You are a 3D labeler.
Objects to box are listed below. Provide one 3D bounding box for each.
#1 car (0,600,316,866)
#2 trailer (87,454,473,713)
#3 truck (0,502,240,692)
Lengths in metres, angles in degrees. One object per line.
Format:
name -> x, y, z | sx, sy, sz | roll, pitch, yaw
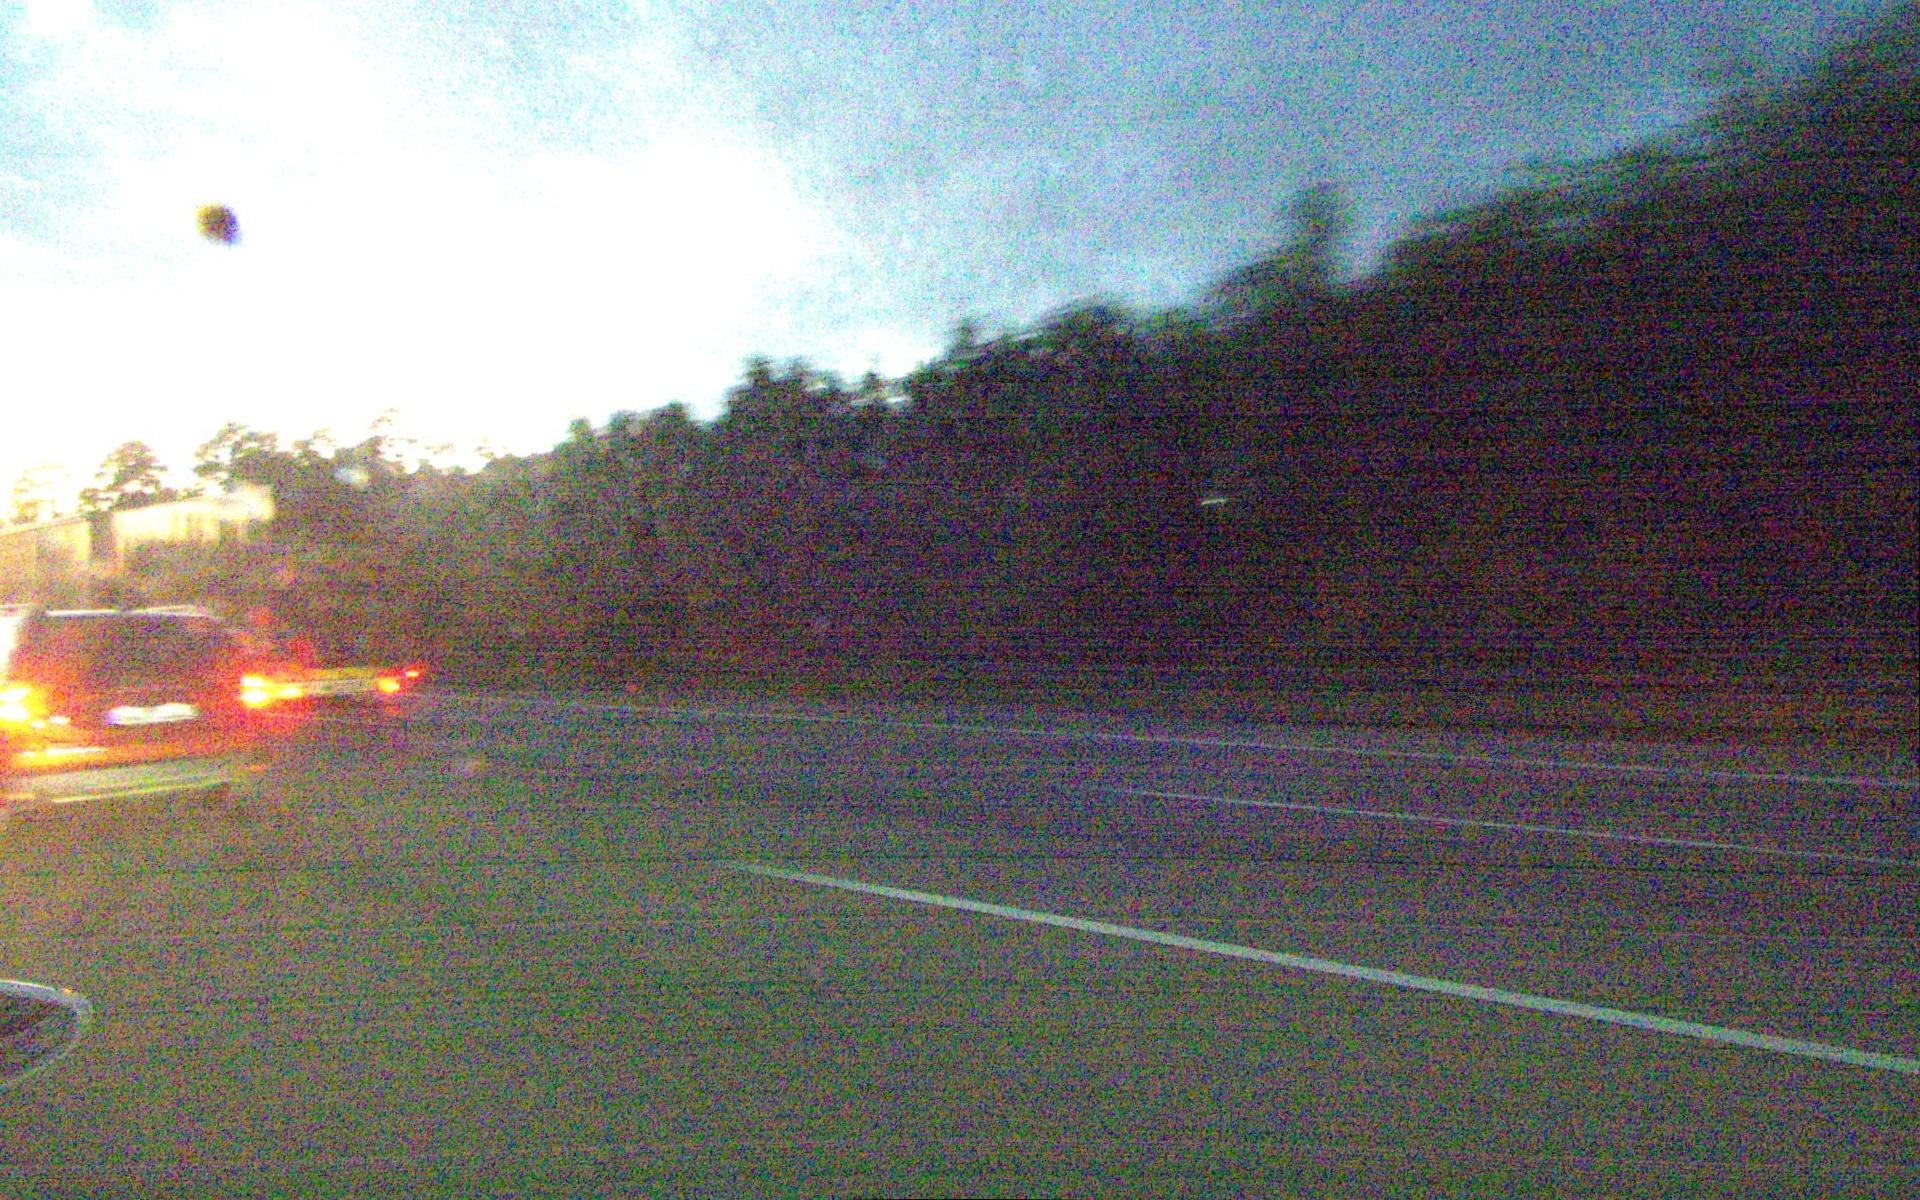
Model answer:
car -> -7.645, 0.855, 8.363 | 4.979, 1.665, 1.899 | 0, -1, 32
trailer -> -14.023, -0.133, 20.168 | 10.216, 4.153, 2.900 | -1, -1, 34
truck -> -22.659, 0.078, 26.091 | 10.683, 4.153, 2.878 | -1, -1, 34
